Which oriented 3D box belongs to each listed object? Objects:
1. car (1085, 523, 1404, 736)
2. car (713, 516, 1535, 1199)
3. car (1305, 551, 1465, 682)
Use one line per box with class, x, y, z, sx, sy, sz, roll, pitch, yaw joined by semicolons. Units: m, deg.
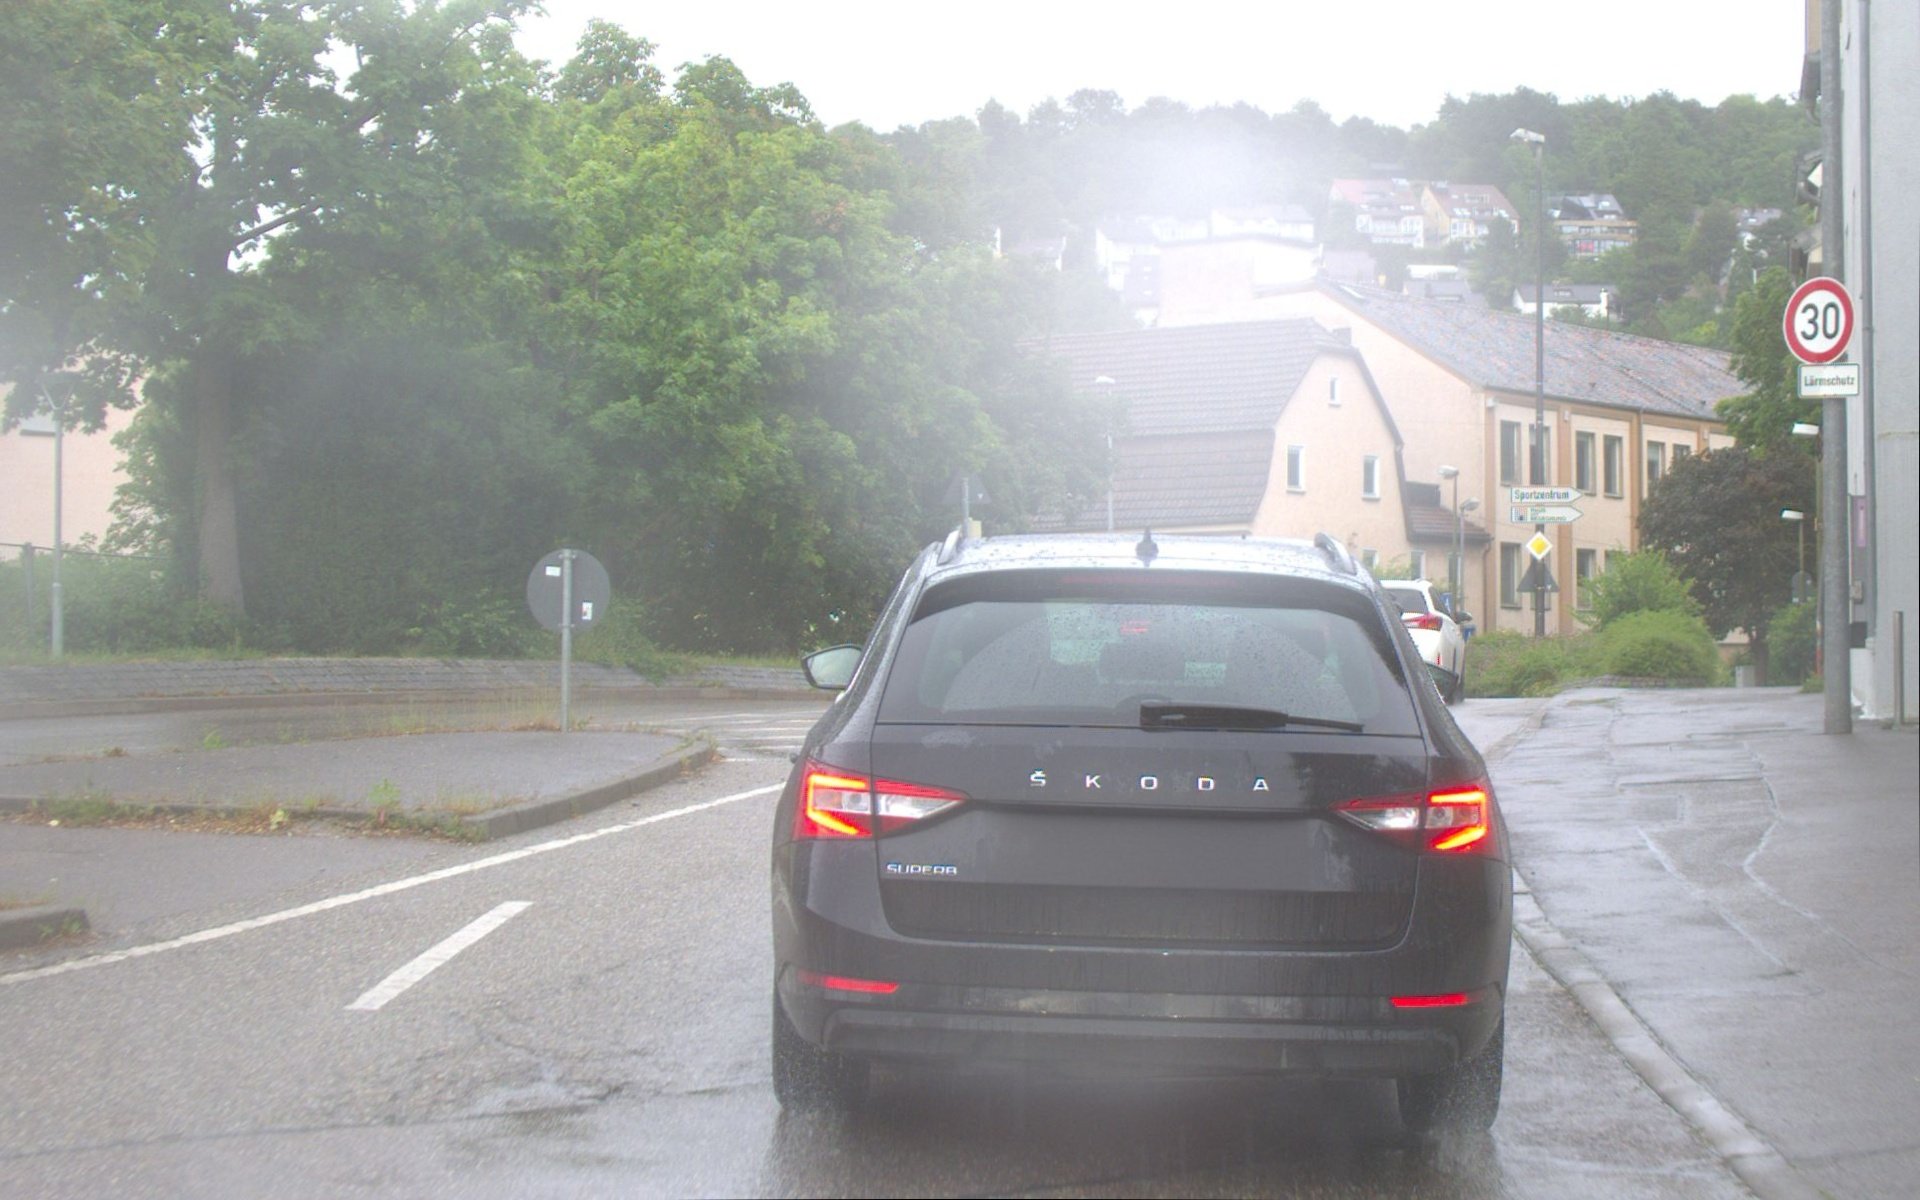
car;2.086;0.247;24.211;1.818;1.355;3.987;-1;-2;11
car;0.389;0.519;9.680;1.782;1.478;4.246;1;1;1
car;5.036;0.150;40.388;1.653;1.382;3.918;1;2;10
